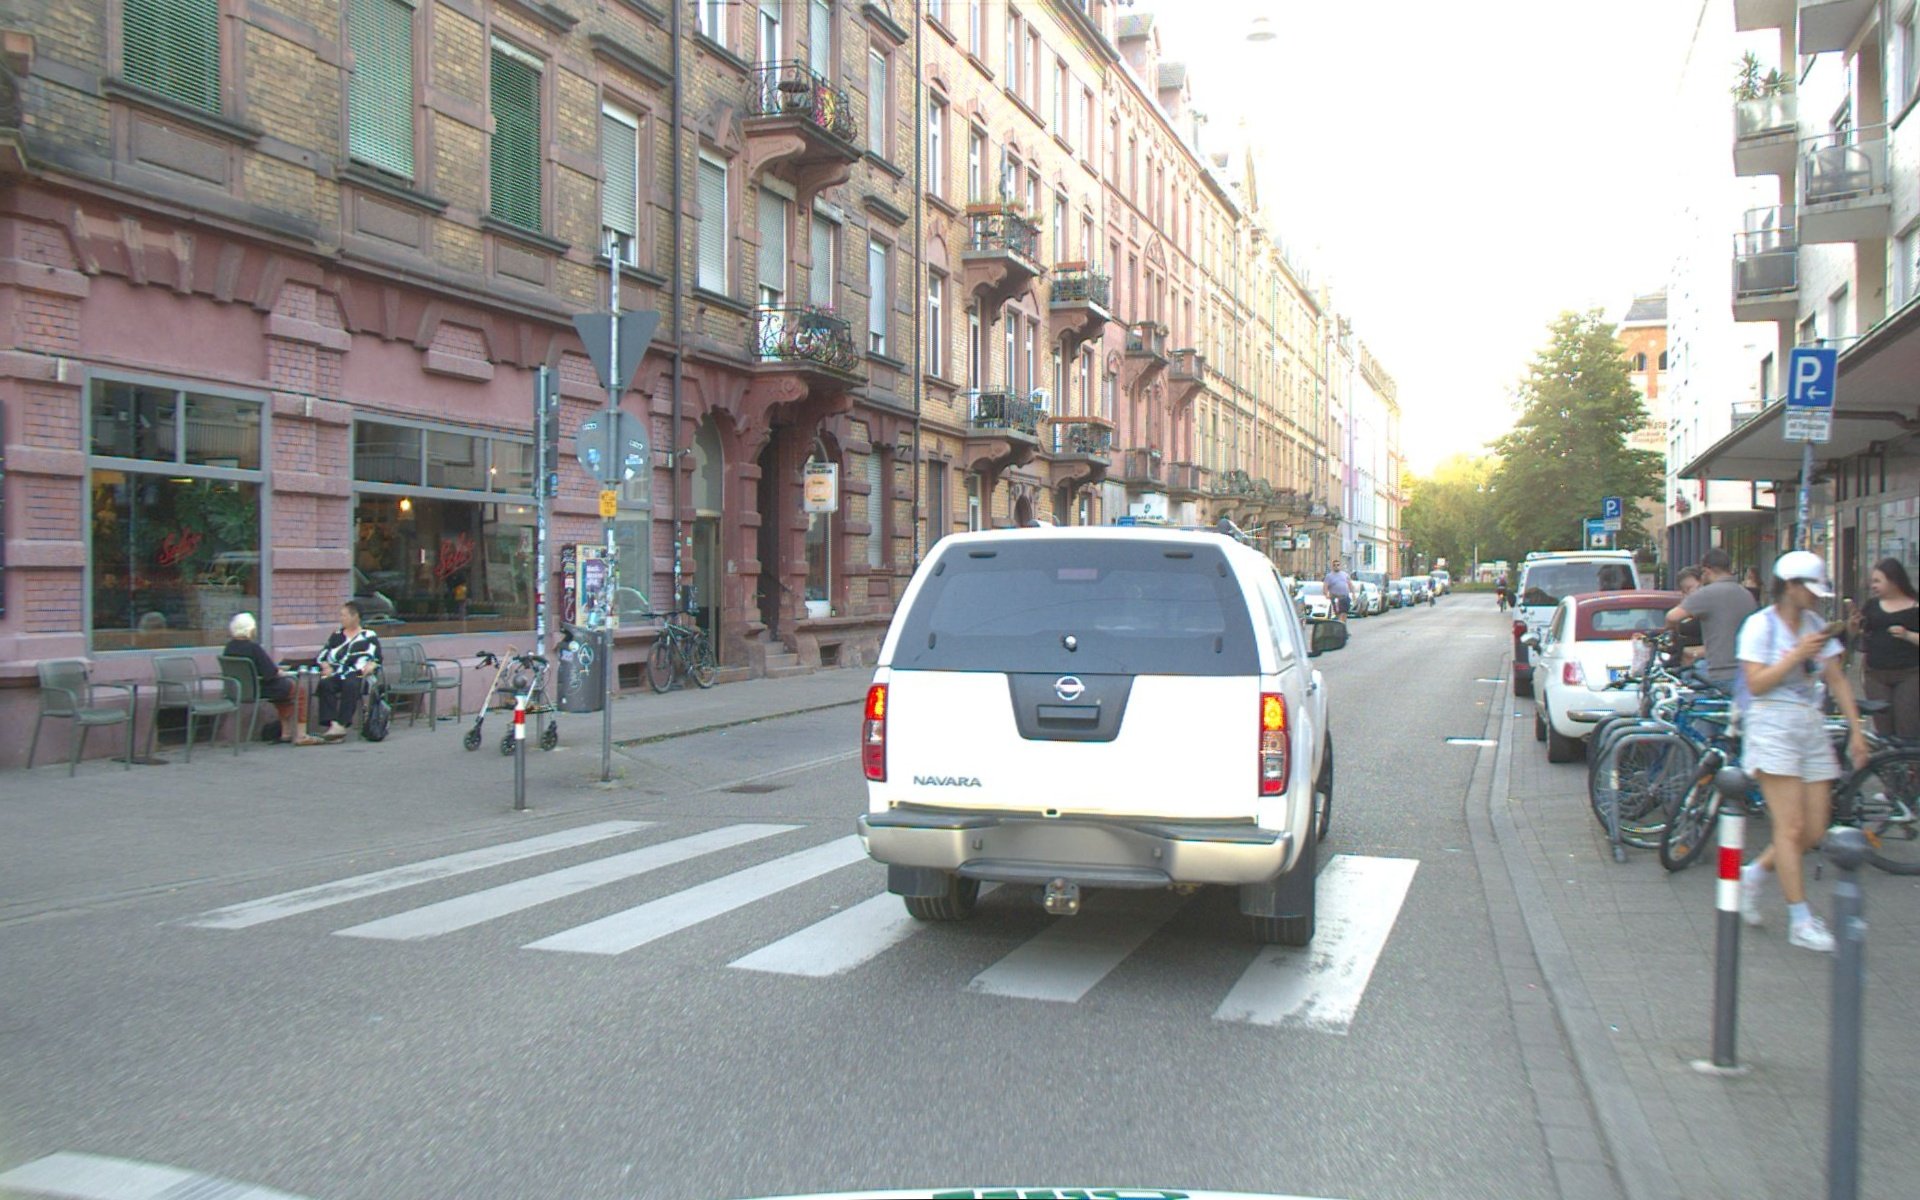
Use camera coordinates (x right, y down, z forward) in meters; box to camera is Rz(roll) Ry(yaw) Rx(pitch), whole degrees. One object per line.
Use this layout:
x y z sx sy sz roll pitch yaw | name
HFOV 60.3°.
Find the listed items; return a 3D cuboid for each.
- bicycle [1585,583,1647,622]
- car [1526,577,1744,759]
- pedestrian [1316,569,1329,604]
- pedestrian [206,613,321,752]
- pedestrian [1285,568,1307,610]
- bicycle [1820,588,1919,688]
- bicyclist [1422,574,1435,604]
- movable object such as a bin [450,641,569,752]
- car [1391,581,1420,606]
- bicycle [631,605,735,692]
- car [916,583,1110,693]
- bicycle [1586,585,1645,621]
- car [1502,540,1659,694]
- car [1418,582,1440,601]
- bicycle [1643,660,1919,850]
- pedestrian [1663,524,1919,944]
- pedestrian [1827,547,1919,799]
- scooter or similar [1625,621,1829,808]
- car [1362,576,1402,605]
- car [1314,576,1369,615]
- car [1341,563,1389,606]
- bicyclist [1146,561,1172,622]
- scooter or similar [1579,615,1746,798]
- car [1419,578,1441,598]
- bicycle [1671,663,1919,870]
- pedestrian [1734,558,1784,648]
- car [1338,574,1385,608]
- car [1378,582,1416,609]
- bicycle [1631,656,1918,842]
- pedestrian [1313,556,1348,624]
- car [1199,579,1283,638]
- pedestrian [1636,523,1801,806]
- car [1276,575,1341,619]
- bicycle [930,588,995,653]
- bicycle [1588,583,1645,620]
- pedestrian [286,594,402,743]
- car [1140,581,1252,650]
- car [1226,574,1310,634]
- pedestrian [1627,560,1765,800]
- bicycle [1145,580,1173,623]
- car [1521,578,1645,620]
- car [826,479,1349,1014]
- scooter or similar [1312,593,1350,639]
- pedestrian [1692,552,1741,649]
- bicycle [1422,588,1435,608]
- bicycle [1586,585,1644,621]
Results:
20.423 0.075 51.518 1.686 1.151 0.579 -2 -1 8 | bicycle
6.318 0.574 15.775 1.559 1.527 3.426 -2 0 17 | car
19.494 -0.730 88.952 0.568 1.802 0.998 3 2 15 | pedestrian
-6.024 0.696 14.325 0.493 1.163 0.791 1 0 21 | pedestrian
14.449 -0.476 71.132 0.545 1.786 1.018 1 -1 36 | pedestrian
11.956 0.468 21.372 0.891 1.216 1.712 -2 -1 6 | bicycle
26.960 -0.635 95.188 0.631 1.649 0.919 -2 0 15 | bicyclist
-4.019 0.849 14.786 0.745 0.932 0.730 1 0 16 | movable object such as a bin
28.732 -0.445 106.689 1.602 1.592 3.783 1 1 18 | car
-3.667 0.621 22.038 0.417 1.071 1.898 1 1 22 | bicycle
0.875 0.491 24.600 1.659 1.445 3.854 1 1 22 | car
20.789 0.105 52.476 1.687 1.072 0.653 -2 -1 23 | bicycle
9.145 0.198 24.568 1.918 2.008 5.004 -2 0 19 | car
37.894 -0.702 133.560 1.662 1.451 4.024 2 1 16 | car
4.628 0.858 9.285 1.387 1.001 0.511 -2 -1 16 | bicycle
3.625 0.544 7.185 0.649 1.680 0.883 -3 0 -4 | pedestrian
6.397 0.476 11.239 0.558 1.660 0.715 -2 1 -43 | pedestrian
5.122 0.759 11.095 1.135 1.191 0.538 -1 2 12 | scooter or similar
22.724 -0.504 88.912 1.700 1.443 4.780 2 1 18 | car
15.700 -0.208 67.957 1.681 1.483 4.001 2 1 20 | car
19.690 -0.745 80.293 1.951 1.957 4.954 2 1 16 | car
5.772 -0.246 48.017 0.693 1.760 0.843 1 0 4 | bicyclist
5.071 0.740 11.925 1.149 1.191 0.531 -3 2 -32 | scooter or similar
39.588 -0.995 139.243 1.662 1.579 4.024 2 1 16 | car
4.575 0.854 8.623 1.515 1.019 0.511 -2 -1 16 | bicycle
15.383 0.063 31.844 0.697 1.695 0.741 -2 -1 39 | pedestrian
18.278 -0.437 75.217 1.746 1.447 4.488 2 1 17 | car
25.742 -0.280 97.436 1.796 1.483 4.208 3 1 19 | car
4.763 0.856 9.737 1.450 1.019 0.510 -2 -1 26 | bicycle
9.321 -0.243 41.597 0.790 1.689 0.673 -1 1 19 | pedestrian
7.520 0.200 44.050 1.552 1.445 3.697 1 1 20 | car
4.985 0.410 10.906 0.721 1.787 0.663 -1 0 -4 | pedestrian
12.480 -0.142 59.065 1.721 1.436 4.510 1 1 19 | car
0.057 0.387 32.519 0.516 1.191 2.047 2 2 22 | bicycle
21.510 0.043 54.162 1.687 1.137 0.653 -2 -1 23 | bicycle
-5.671 0.613 15.262 0.634 1.276 0.909 3 2 4 | pedestrian
5.495 0.315 38.049 1.687 1.445 4.583 1 1 19 | car
9.202 0.079 49.151 1.814 1.662 4.447 1 1 19 | car
5.195 0.546 11.690 0.636 1.628 0.588 -1 0 -21 | pedestrian
5.767 0.036 47.986 0.693 1.217 1.742 1 0 4 | bicycle
24.500 -0.042 65.184 4.328 1.481 1.781 -2 0 13 | car
1.033 0.487 8.630 1.870 1.885 5.275 1 1 14 | car
9.330 0.386 41.601 0.790 1.123 1.172 -1 1 19 | scooter or similar
14.836 0.022 32.434 0.696 1.860 0.857 -2 -1 36 | pedestrian
26.973 -0.129 95.176 0.631 1.100 2.170 -2 0 15 | bicycle
21.040 0.103 53.100 1.687 1.072 0.653 -2 -1 23 | bicycle
